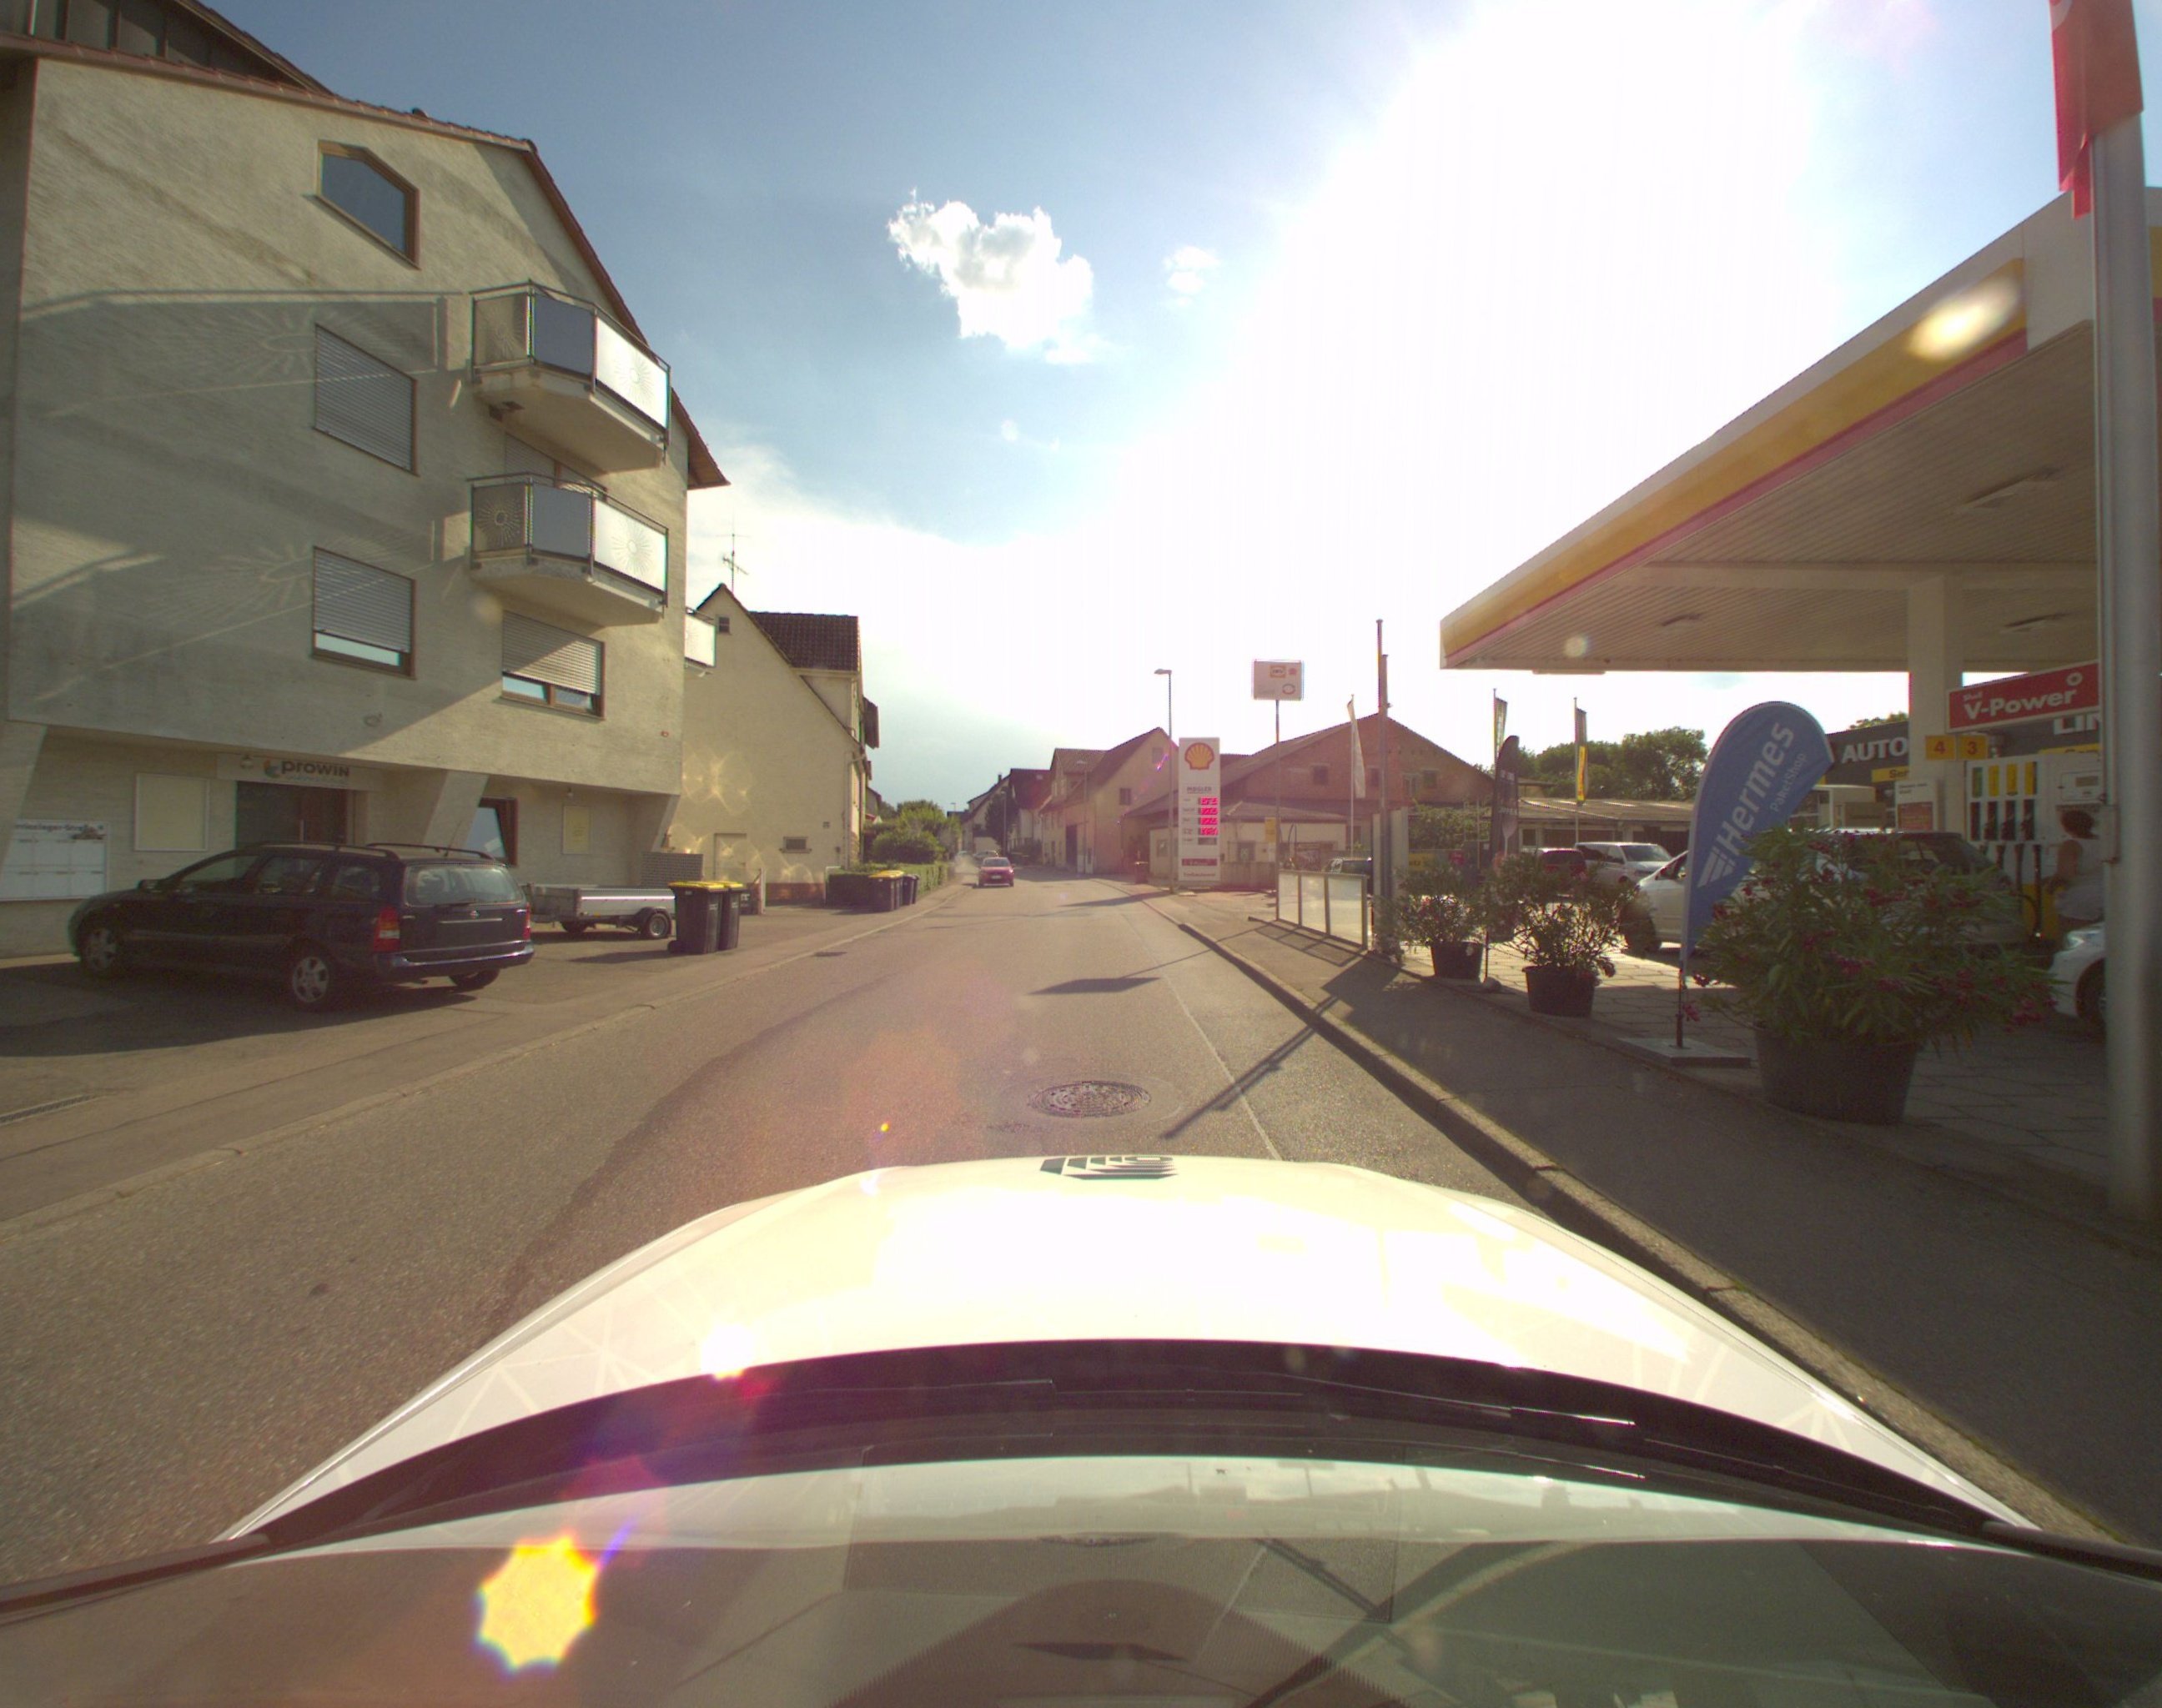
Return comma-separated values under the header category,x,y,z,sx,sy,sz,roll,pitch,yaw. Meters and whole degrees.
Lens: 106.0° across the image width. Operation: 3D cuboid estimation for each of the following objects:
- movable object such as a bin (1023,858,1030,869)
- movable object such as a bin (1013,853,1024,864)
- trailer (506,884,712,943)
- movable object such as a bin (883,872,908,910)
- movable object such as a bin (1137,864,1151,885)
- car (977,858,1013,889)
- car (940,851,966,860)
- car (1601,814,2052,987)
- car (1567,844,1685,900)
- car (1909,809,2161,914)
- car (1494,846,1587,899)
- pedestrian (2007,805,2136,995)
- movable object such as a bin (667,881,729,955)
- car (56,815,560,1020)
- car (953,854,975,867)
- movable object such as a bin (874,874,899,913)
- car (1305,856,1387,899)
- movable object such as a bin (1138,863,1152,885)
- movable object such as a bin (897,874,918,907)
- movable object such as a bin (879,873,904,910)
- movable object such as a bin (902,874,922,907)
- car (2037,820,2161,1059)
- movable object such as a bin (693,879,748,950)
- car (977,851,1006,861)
category,x,y,z,sx,sy,sz,roll,pitch,yaw
movable object such as a bin,-5.364,0.946,80.019,0.654,1.073,0.510,0,0,-15
movable object such as a bin,-6.949,0.473,89.949,1.161,1.168,0.652,0,0,-11
trailer,-8.066,0.997,14.183,1.319,0.855,2.904,2,-2,18
movable object such as a bin,-5.700,1.139,25.072,0.586,1.122,0.617,-2,-1,0
movable object such as a bin,3.186,1.027,41.417,0.651,1.073,0.512,0,0,-2
car,-4.353,0.947,40.950,1.707,1.435,3.771,-1,-1,-7
car,-20.315,0.206,129.273,3.993,1.352,1.702,0,0,-15
car,8.140,0.422,9.499,1.666,1.577,3.999,-1,0,1
car,20.037,0.591,30.189,1.571,1.923,4.558,-1,1,4
car,15.224,0.139,12.225,1.531,1.400,3.999,-1,-2,1
car,16.790,0.625,29.930,1.571,1.792,3.636,-1,0,4
pedestrian,9.019,0.405,7.435,0.498,1.670,0.534,0,-1,1
movable object such as a bin,-5.880,0.973,12.524,0.597,1.071,0.619,3,-1,1
car,-7.835,0.539,8.402,3.960,1.538,1.769,4,1,12
car,-14.442,0.751,100.541,1.712,1.578,3.969,0,0,-23
movable object such as a bin,-5.709,1.156,23.911,0.586,1.084,0.508,-2,-1,0
car,9.625,0.799,29.930,1.573,1.427,4.380,1,0,0
movable object such as a bin,3.215,0.986,40.853,0.651,1.073,0.512,0,0,-2
movable object such as a bin,-5.464,1.153,25.729,0.529,1.022,0.457,-2,-1,0
movable object such as a bin,-5.700,1.125,24.478,0.586,1.084,0.530,-2,-1,0
movable object such as a bin,-5.437,1.159,26.213,0.529,1.022,0.457,-2,-1,0
car,7.931,0.557,4.071,1.666,1.577,3.999,-1,0,1
movable object such as a bin,-5.809,0.967,13.149,0.568,1.071,0.557,3,-1,1
car,-12.140,0.229,110.501,3.984,1.352,1.706,0,0,-8
